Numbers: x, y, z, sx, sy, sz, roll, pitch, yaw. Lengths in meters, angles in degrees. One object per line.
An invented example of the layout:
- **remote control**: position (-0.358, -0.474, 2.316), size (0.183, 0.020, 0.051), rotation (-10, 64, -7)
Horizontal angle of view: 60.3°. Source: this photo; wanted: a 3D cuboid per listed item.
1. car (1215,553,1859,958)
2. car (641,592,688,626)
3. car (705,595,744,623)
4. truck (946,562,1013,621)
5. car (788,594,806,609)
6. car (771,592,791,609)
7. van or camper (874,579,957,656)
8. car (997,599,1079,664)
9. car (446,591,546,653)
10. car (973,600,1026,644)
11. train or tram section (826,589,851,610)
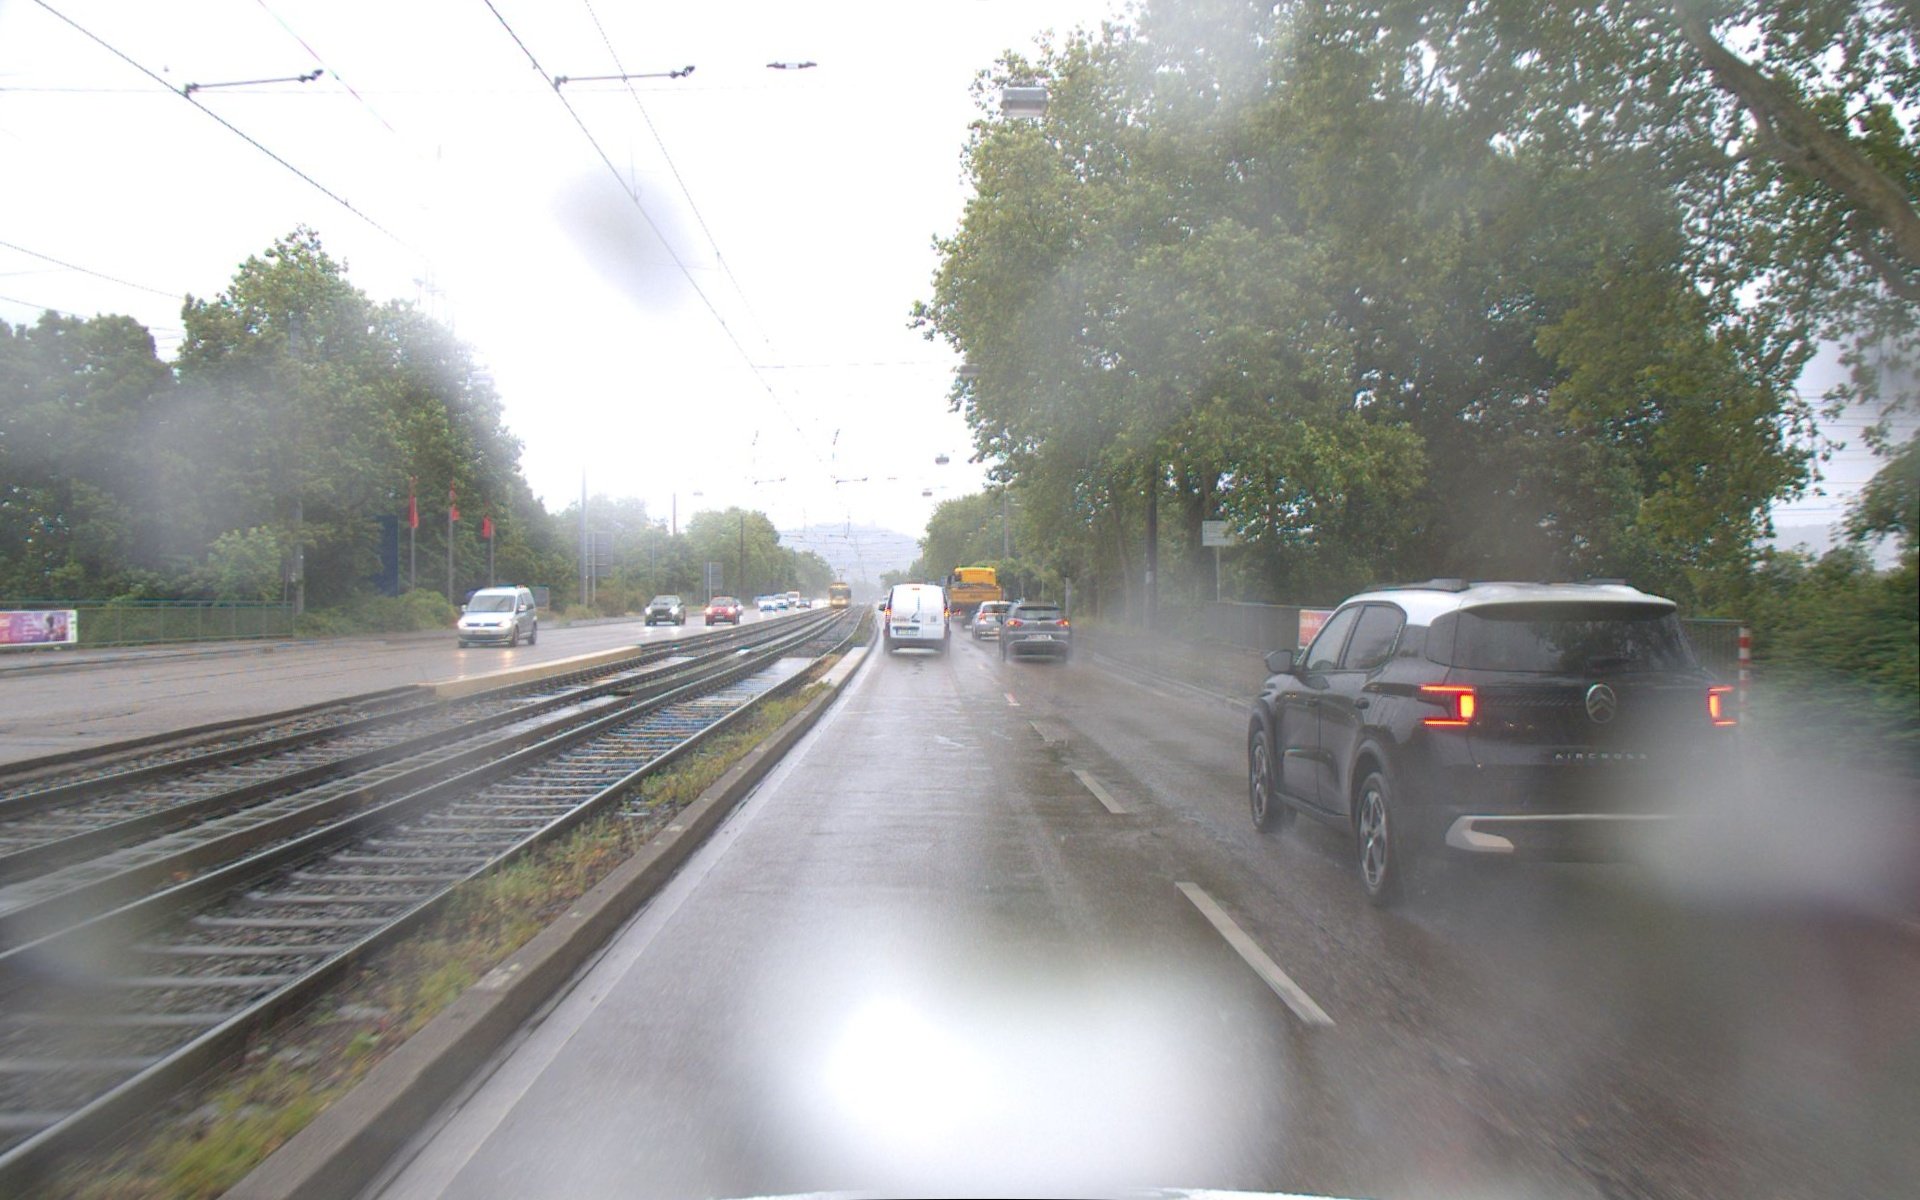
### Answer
- **car**: position (2.899, 0.642, 9.599), size (1.861, 1.746, 4.723), rotation (1, 1, -3)
- **car**: position (-16.621, 0.478, 93.207), size (1.953, 1.847, 4.000), rotation (0, 0, 0)
- **car**: position (-13.029, 0.458, 91.751), size (1.623, 1.512, 4.013), rotation (0, 0, 0)
- **truck**: position (0.916, -0.458, 83.093), size (3.050, 2.821, 6.327), rotation (1, 1, -2)
- **car**: position (-21.893, 0.134, 222.206), size (1.953, 1.937, 4.000), rotation (1, 0, 0)
- **car**: position (-21.728, 0.034, 201.092), size (1.953, 1.937, 4.000), rotation (1, 0, 0)
- **van or camper**: position (-1.213, 0.408, 43.328), size (1.954, 1.815, 3.997), rotation (2, 1, -4)
- **car**: position (1.891, 0.742, 41.018), size (1.781, 1.438, 3.778), rotation (1, 1, -1)
- **car**: position (-14.528, 0.640, 52.015), size (1.953, 1.847, 4.657), rotation (0, 0, -2)
- **car**: position (1.438, 0.782, 60.793), size (1.781, 1.438, 3.778), rotation (1, 1, -1)
- **train or tram section**: position (-17.654, -0.141, 241.409), size (2.792, 2.944, 14.004), rotation (-1, 1, -1)
